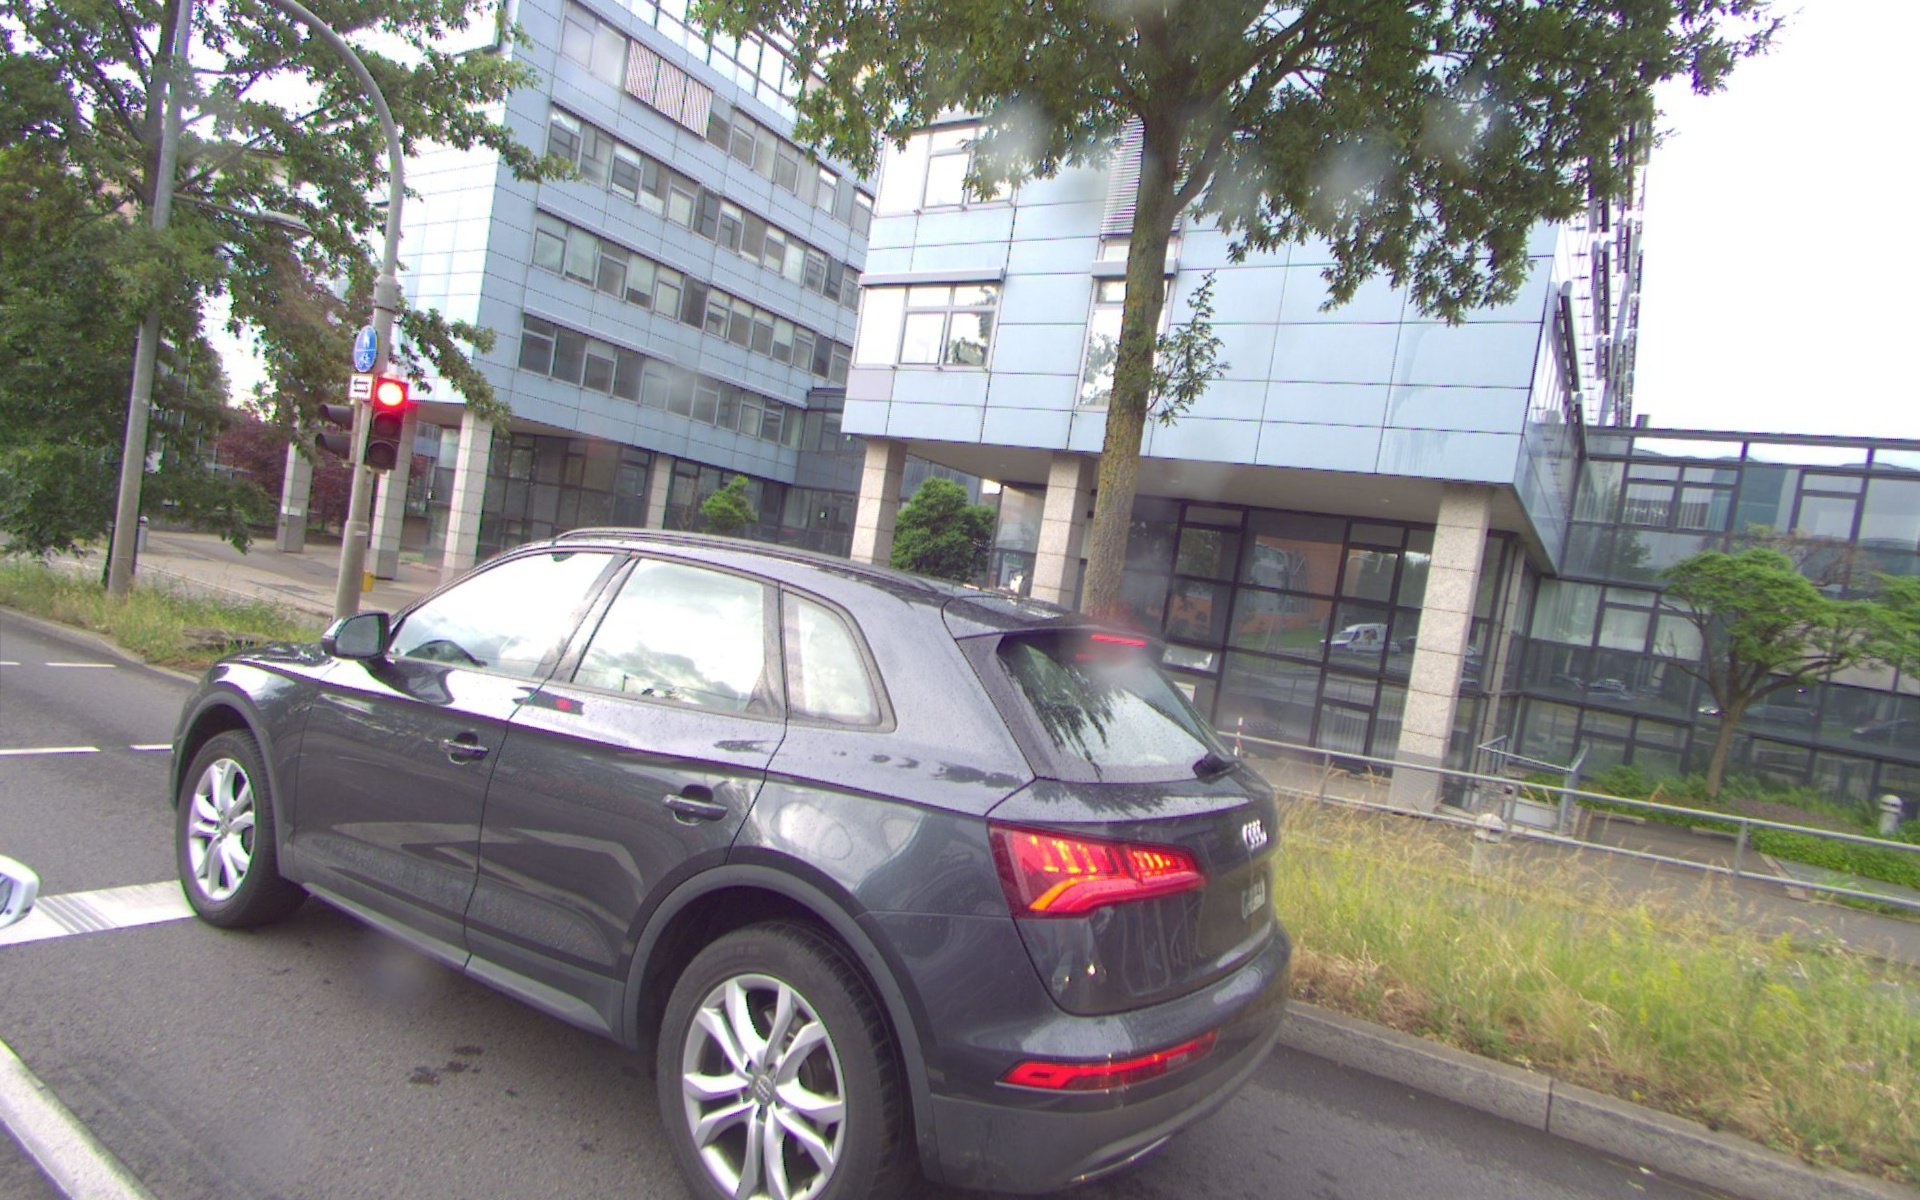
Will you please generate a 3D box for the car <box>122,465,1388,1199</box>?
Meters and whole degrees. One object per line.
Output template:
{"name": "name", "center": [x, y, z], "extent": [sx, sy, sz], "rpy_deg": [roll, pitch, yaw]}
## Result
{"name": "car", "center": [-0.996, 0.569, 3.723], "extent": [4.396, 1.632, 1.821], "rpy_deg": [7, -1, 32]}
